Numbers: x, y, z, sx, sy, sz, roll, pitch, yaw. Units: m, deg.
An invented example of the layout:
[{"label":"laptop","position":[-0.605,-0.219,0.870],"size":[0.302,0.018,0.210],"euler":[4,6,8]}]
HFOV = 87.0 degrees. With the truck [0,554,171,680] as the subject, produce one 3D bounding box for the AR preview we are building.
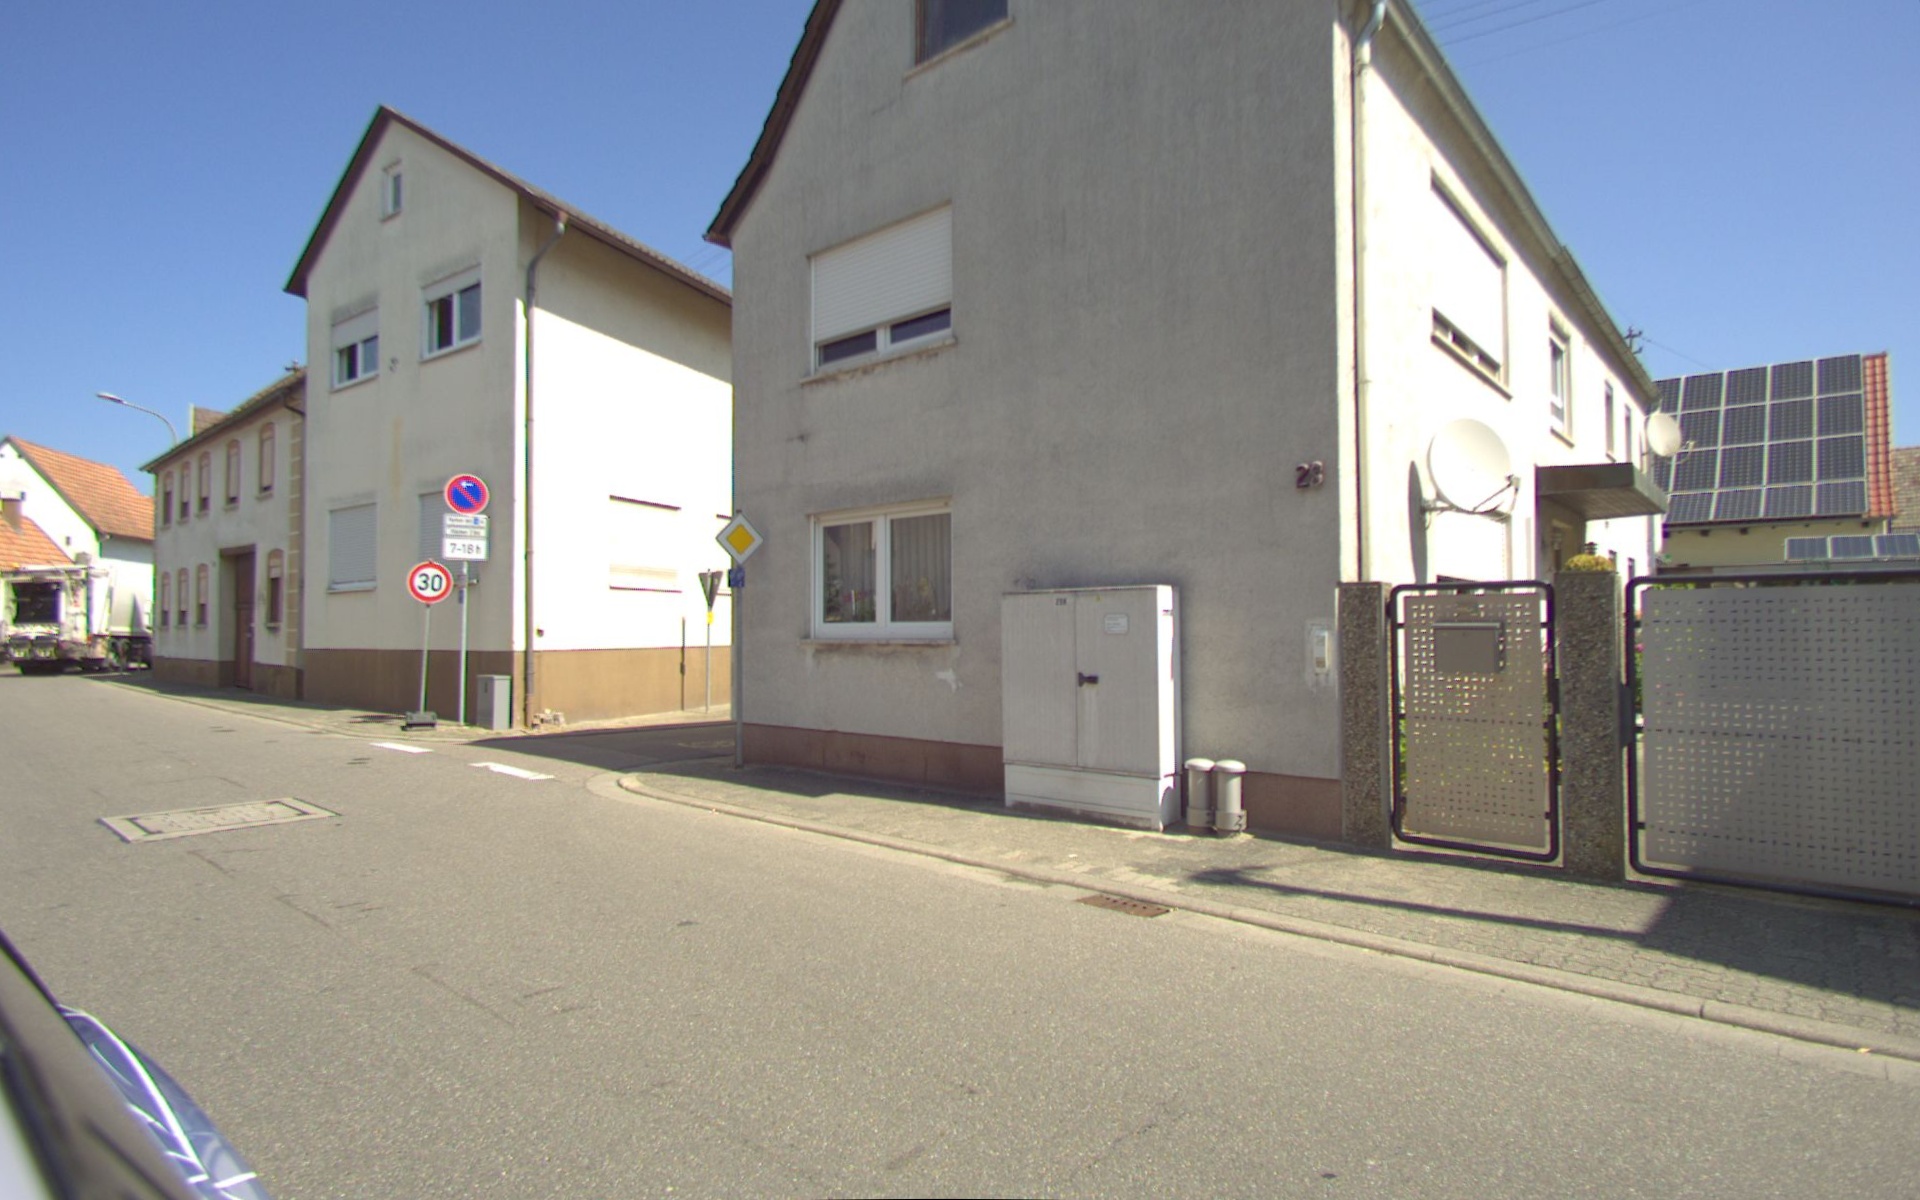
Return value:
[{"label":"truck","position":[-30.713,0.662,35.607],"size":[2.658,3.779,10.903],"euler":[1,-2,-27]}]
